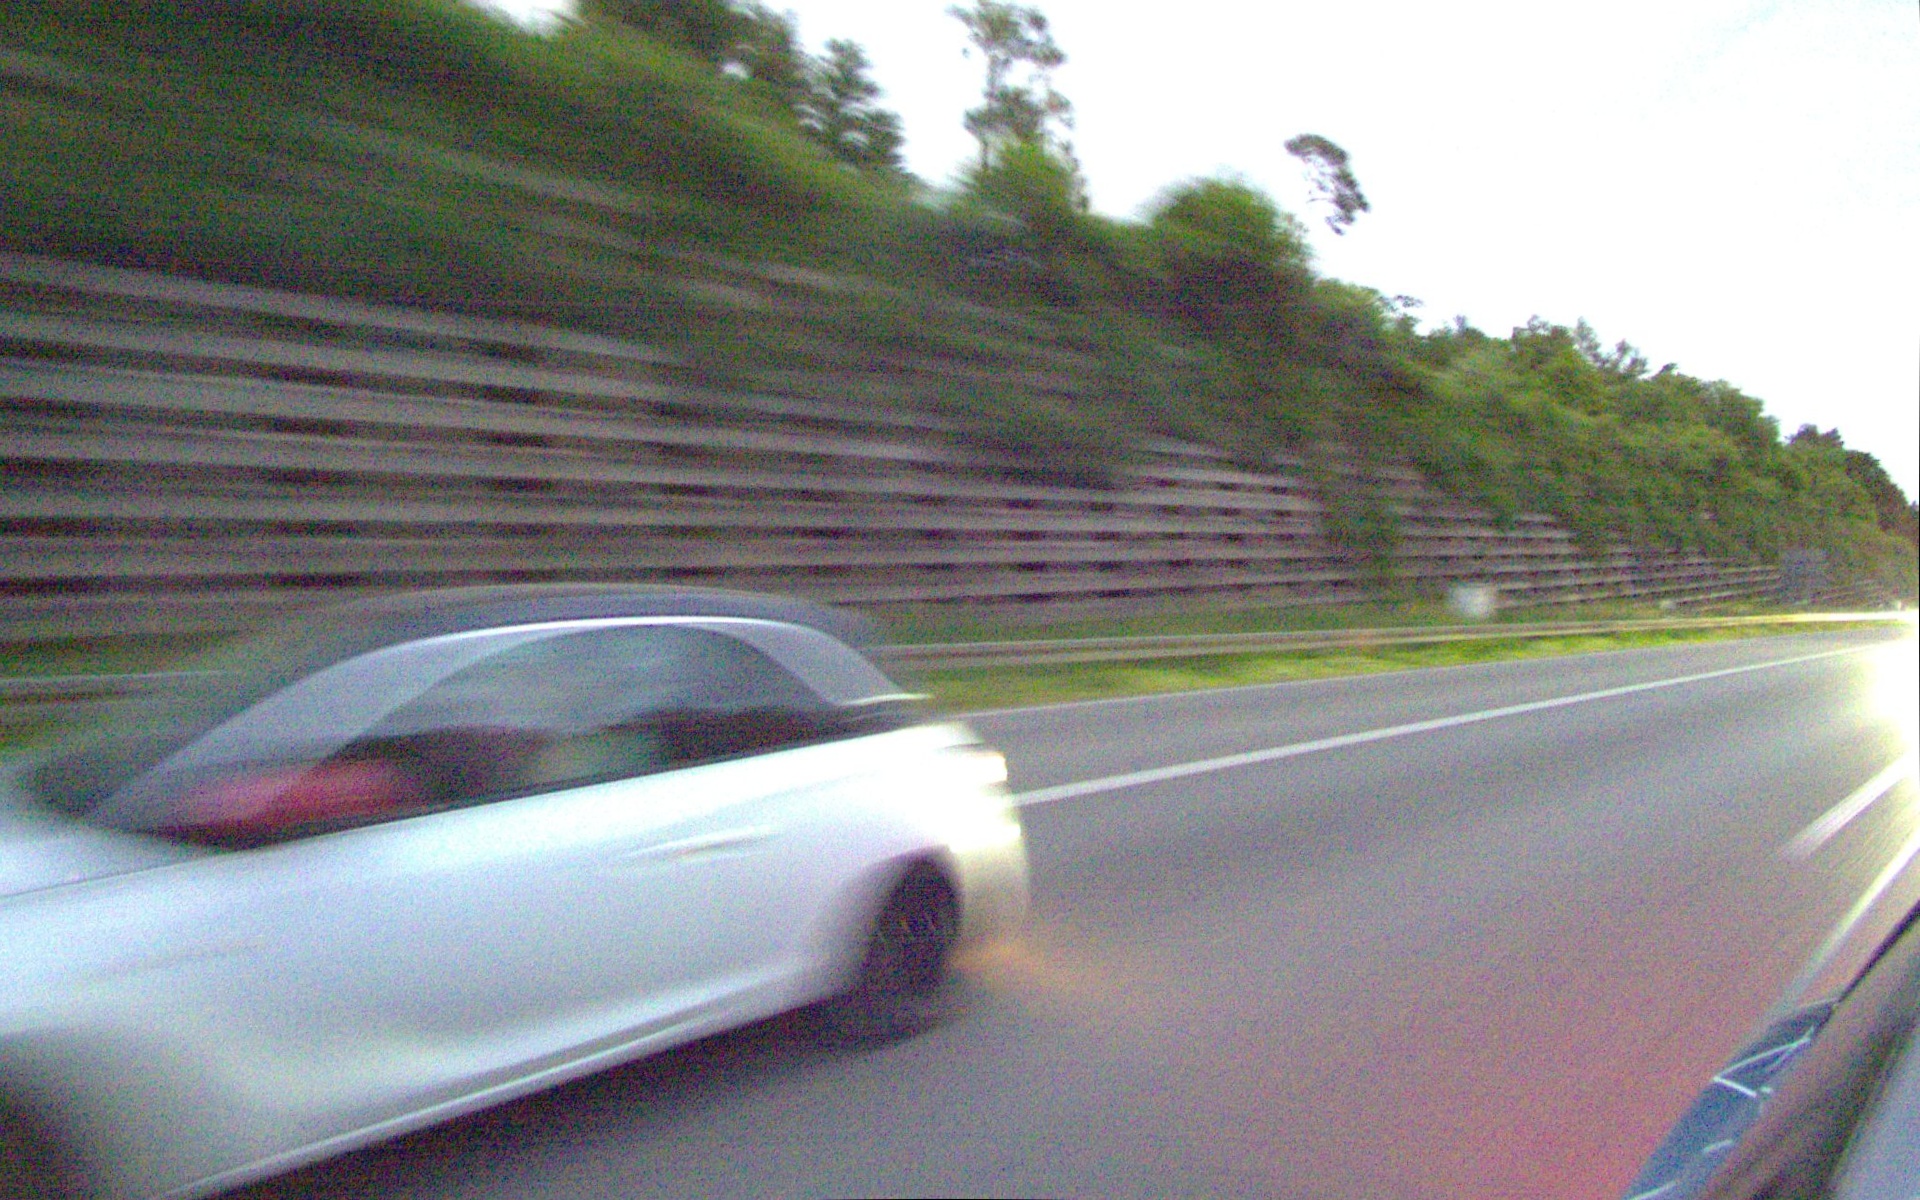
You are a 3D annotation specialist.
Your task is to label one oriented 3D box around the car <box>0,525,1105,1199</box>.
[{"bbox_3d":[-1.592,0.605,3.169,1.826,1.494,4.327,3,1,44],"label":"car"}]
